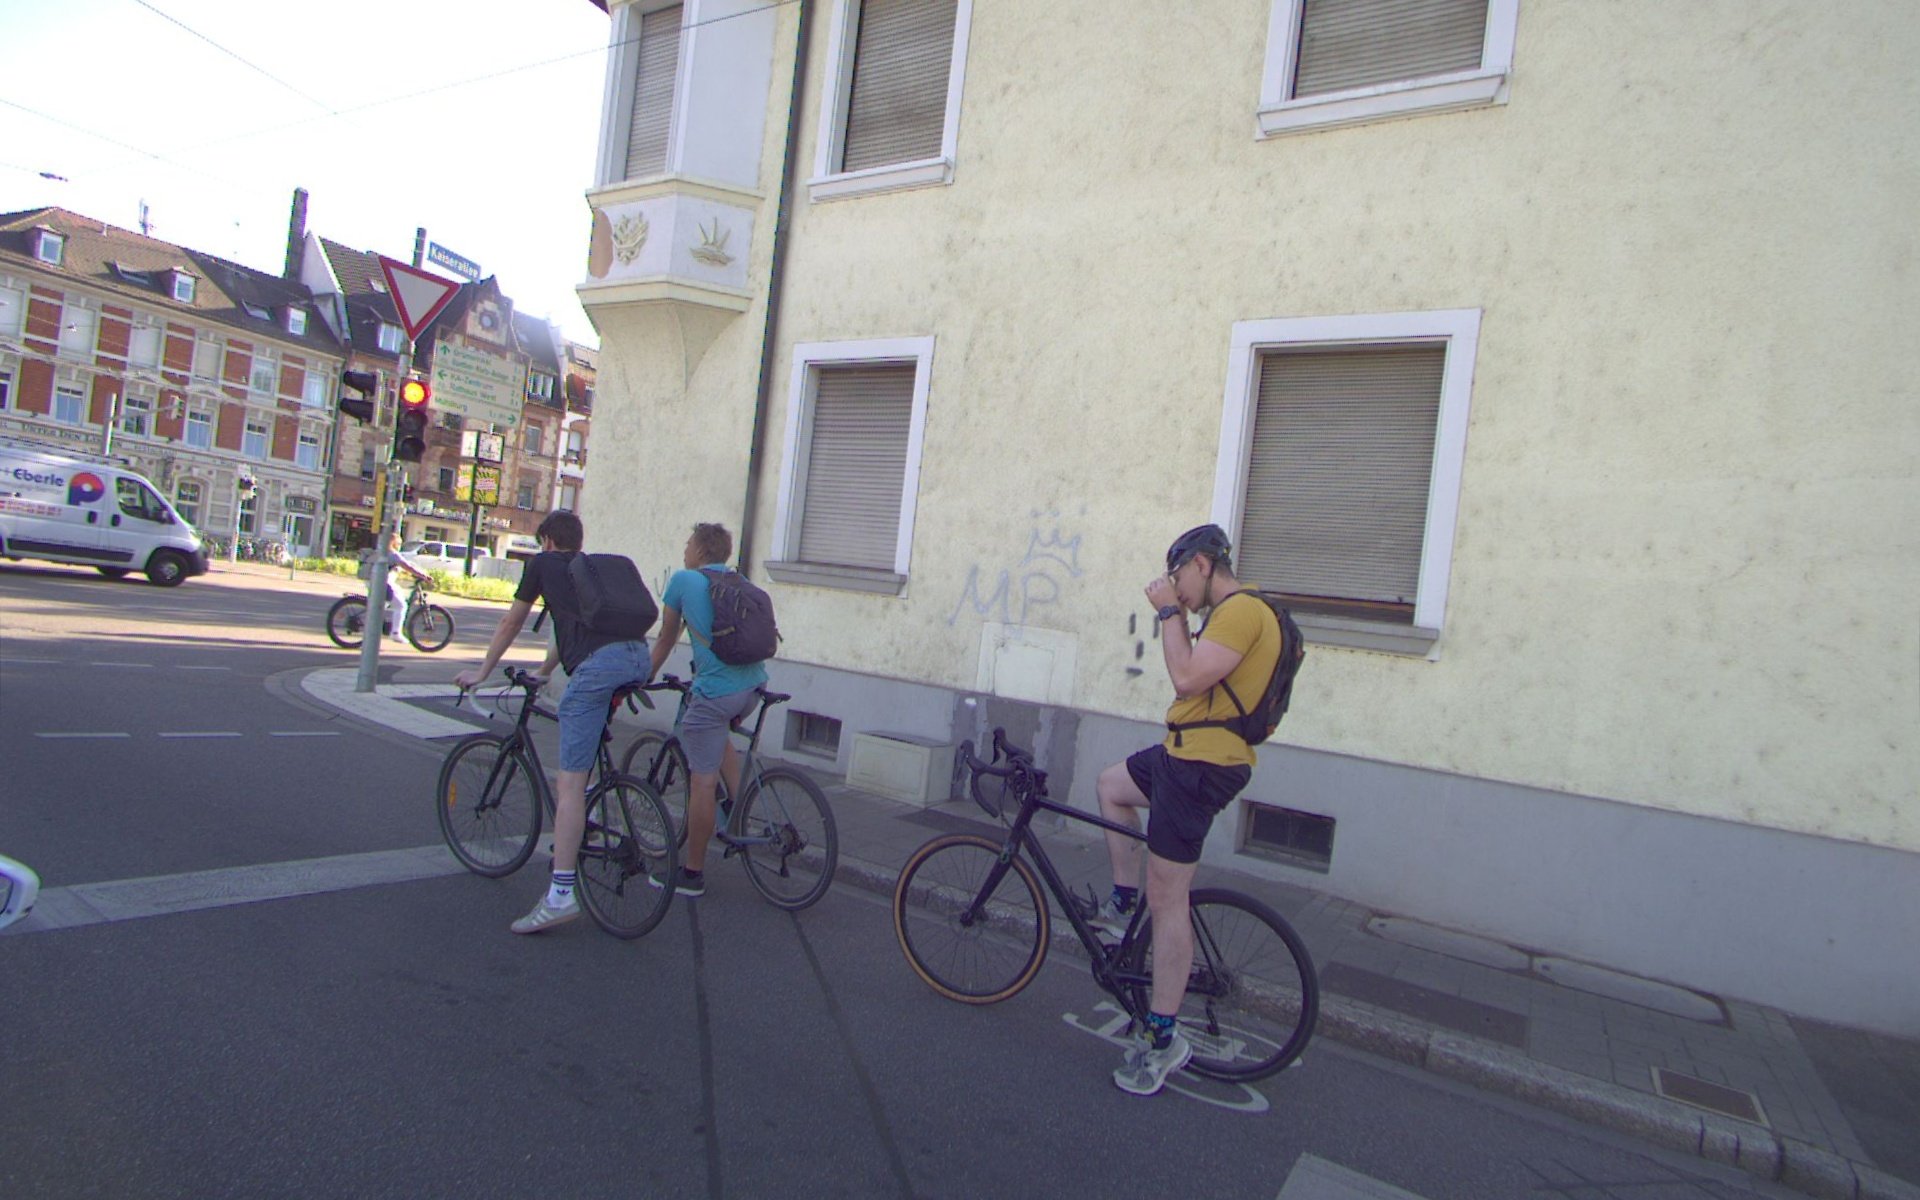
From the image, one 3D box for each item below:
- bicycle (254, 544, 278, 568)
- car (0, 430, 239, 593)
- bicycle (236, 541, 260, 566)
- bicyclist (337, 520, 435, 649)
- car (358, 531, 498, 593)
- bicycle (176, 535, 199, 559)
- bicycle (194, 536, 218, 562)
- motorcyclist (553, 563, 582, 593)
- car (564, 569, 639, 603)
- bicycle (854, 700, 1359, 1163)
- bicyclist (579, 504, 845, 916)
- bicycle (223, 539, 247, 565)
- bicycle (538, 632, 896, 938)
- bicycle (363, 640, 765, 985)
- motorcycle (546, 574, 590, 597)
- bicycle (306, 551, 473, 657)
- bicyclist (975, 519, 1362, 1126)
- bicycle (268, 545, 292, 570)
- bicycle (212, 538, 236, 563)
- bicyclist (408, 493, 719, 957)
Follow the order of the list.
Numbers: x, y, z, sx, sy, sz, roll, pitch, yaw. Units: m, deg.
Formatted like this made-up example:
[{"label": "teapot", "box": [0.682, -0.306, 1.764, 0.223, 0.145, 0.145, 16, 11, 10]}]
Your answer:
[{"label": "bicycle", "box": [-33.325, -2.123, 48.296, 1.759, 1.033, 0.485, 7, 0, 42]}, {"label": "car", "box": [-16.917, -1.676, 18.763, 2.043, 2.461, 5.128, 7, -1, 24]}, {"label": "bicycle", "box": [-33.689, -2.200, 47.568, 1.759, 1.033, 0.485, 7, 0, 42]}, {"label": "bicyclist", "box": [-8.245, -0.213, 14.470, 0.721, 1.735, 0.800, 7, 0, 30]}, {"label": "car", "box": [-23.283, -1.618, 44.269, 1.967, 2.037, 4.988, 7, -1, 31]}, {"label": "bicycle", "box": [-35.079, -2.422, 45.671, 1.759, 0.925, 0.485, 7, 0, 42]}, {"label": "bicycle", "box": [-34.654, -2.349, 46.207, 1.759, 1.033, 0.485, 7, 0, 42]}, {"label": "motorcyclist", "box": [-19.592, -1.087, 50.239, 0.732, 1.371, 1.004, 7, 0, 32]}, {"label": "car", "box": [-23.188, -0.894, 65.236, 1.966, 1.641, 4.261, 7, -1, 29]}, {"label": "bicycle", "box": [0.500, 1.090, 3.780, 1.670, 1.180, 0.571, 7, 0, 32]}, {"label": "bicyclist", "box": [-1.299, 0.523, 5.278, 0.978, 1.910, 0.652, 7, 0, 32]}, {"label": "bicycle", "box": [-34.016, -2.259, 47.176, 1.759, 1.033, 0.485, 7, 0, 42]}, {"label": "bicycle", "box": [-1.322, 0.877, 5.288, 1.858, 1.180, 0.571, 7, 0, 32]}, {"label": "bicycle", "box": [-1.811, 0.835, 4.475, 1.858, 1.071, 0.571, 7, 0, 32]}, {"label": "motorcycle", "box": [-19.581, -0.713, 50.290, 0.552, 0.908, 2.043, 7, -1, 31]}, {"label": "bicycle", "box": [-8.214, 0.092, 14.585, 0.613, 1.314, 1.945, 7, -1, 30]}, {"label": "bicyclist", "box": [0.759, 0.696, 3.664, 1.019, 1.839, 0.652, 7, 0, 32]}, {"label": "bicycle", "box": [-33.106, -2.066, 48.984, 1.759, 1.033, 0.485, 7, 0, 42]}, {"label": "bicycle", "box": [-34.203, -2.300, 46.753, 1.759, 1.033, 0.485, 7, 0, 42]}, {"label": "bicyclist", "box": [-1.763, 0.491, 4.477, 0.978, 1.788, 0.652, 7, 0, 32]}]
